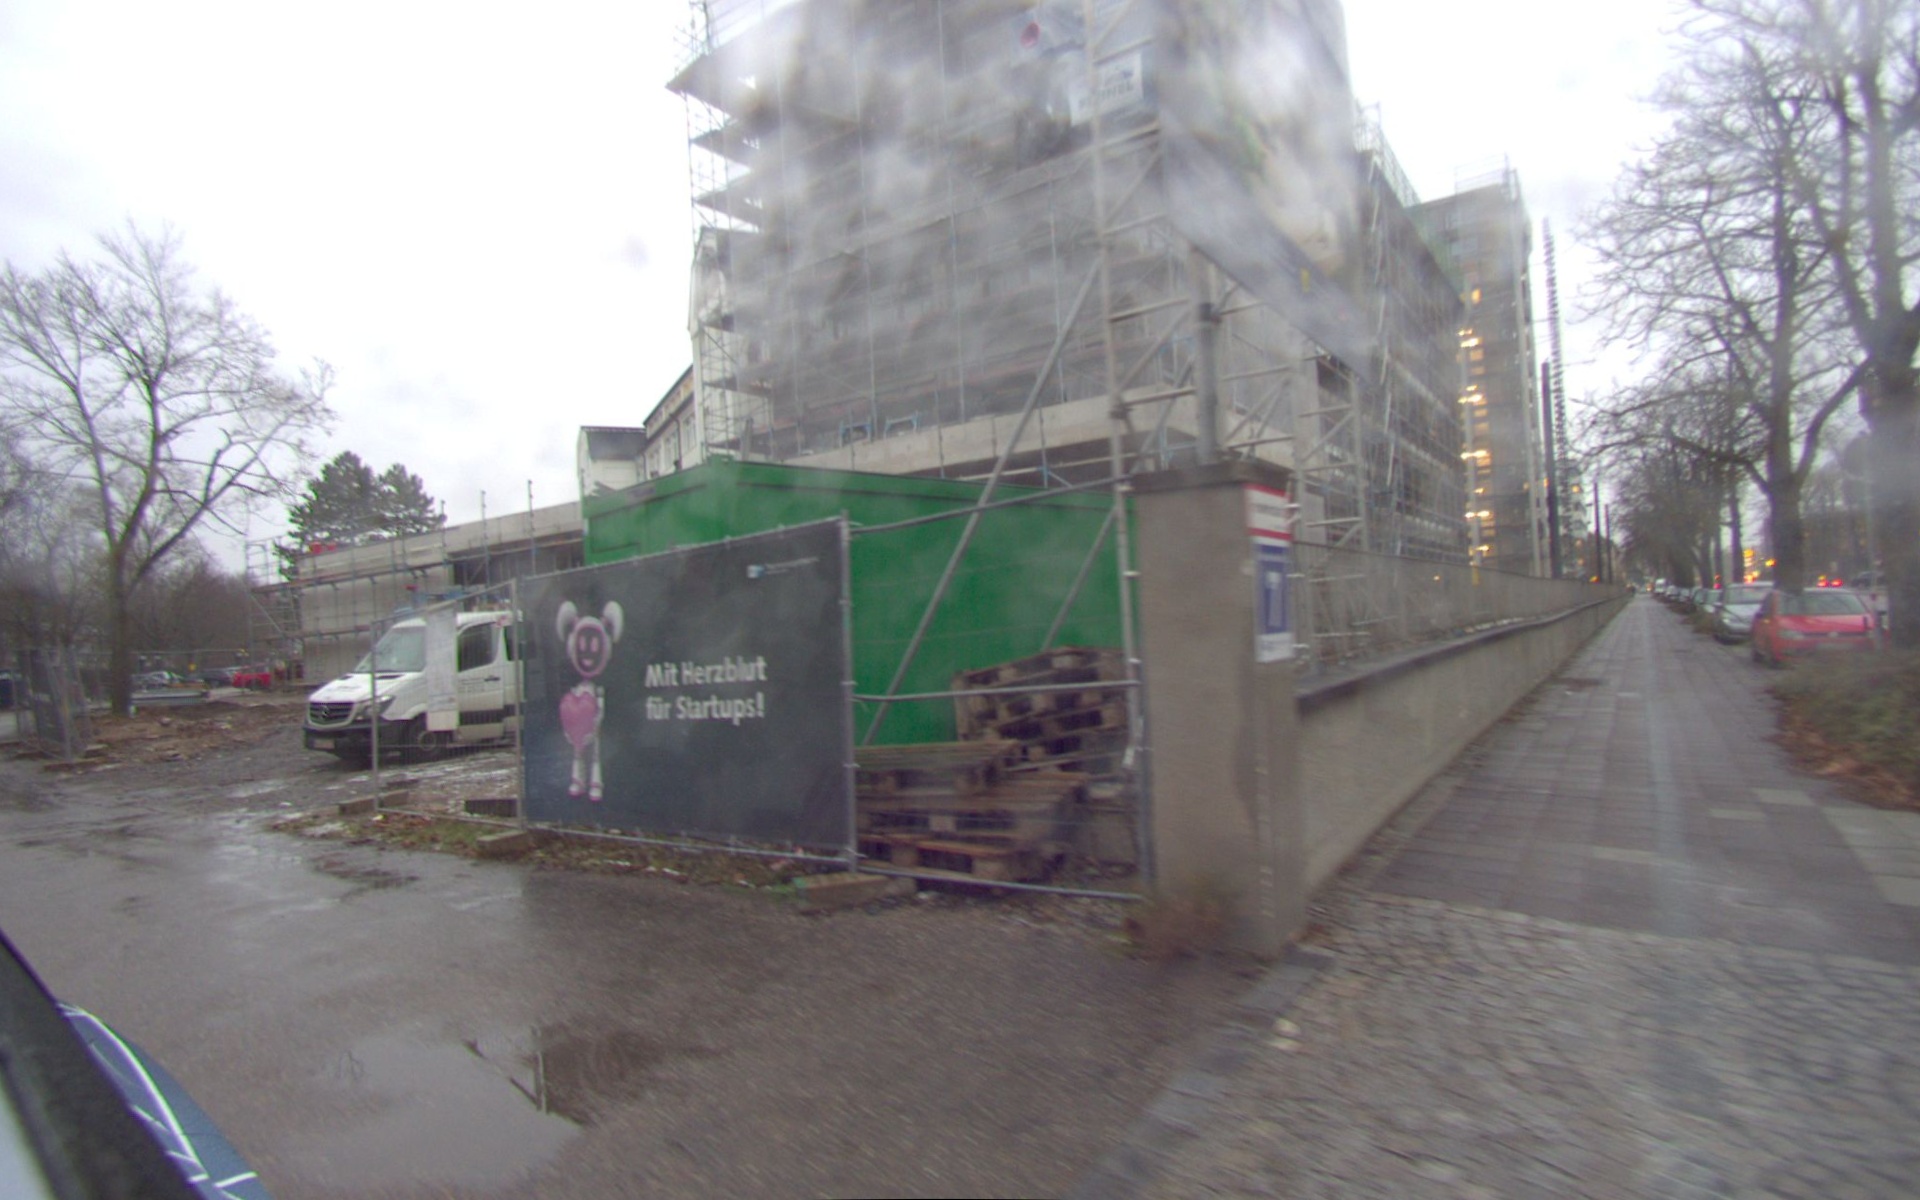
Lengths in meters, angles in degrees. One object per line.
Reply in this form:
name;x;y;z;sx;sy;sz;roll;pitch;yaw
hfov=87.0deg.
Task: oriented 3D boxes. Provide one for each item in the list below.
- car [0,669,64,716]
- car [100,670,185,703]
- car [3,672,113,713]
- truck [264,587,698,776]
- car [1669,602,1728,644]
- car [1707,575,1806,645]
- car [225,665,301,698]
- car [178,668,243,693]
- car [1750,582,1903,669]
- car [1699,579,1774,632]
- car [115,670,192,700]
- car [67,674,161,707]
car;-44.230;4.313;46.678;3.931;2.007;2.006;-2;-2;-25
car;-52.890;5.585;65.531;3.931;1.810;1.808;-2;-2;-25
car;-47.307;4.838;53.157;3.931;1.810;1.808;-2;-2;-25
truck;-7.867;1.161;17.824;2.122;2.607;7.017;-4;-1;27
car;31.135;0.946;42.683;1.864;1.606;3.951;-4;-2;36
car;20.384;0.259;26.031;1.751;1.596;3.691;-4;-2;36
car;-38.174;4.448;55.522;3.253;1.535;1.709;-1;-2;-29
car;-61.134;6.557;82.638;3.931;1.810;1.808;-2;-2;-25
car;15.729;0.457;18.552;1.751;1.398;3.691;-4;-2;36
car;26.505;0.197;34.647;1.864;1.606;3.951;-4;-2;36
car;-57.284;6.010;71.952;3.931;1.810;1.808;-2;-2;-25
car;-50.634;5.381;60.665;3.931;1.674;2.006;-2;-2;-25
